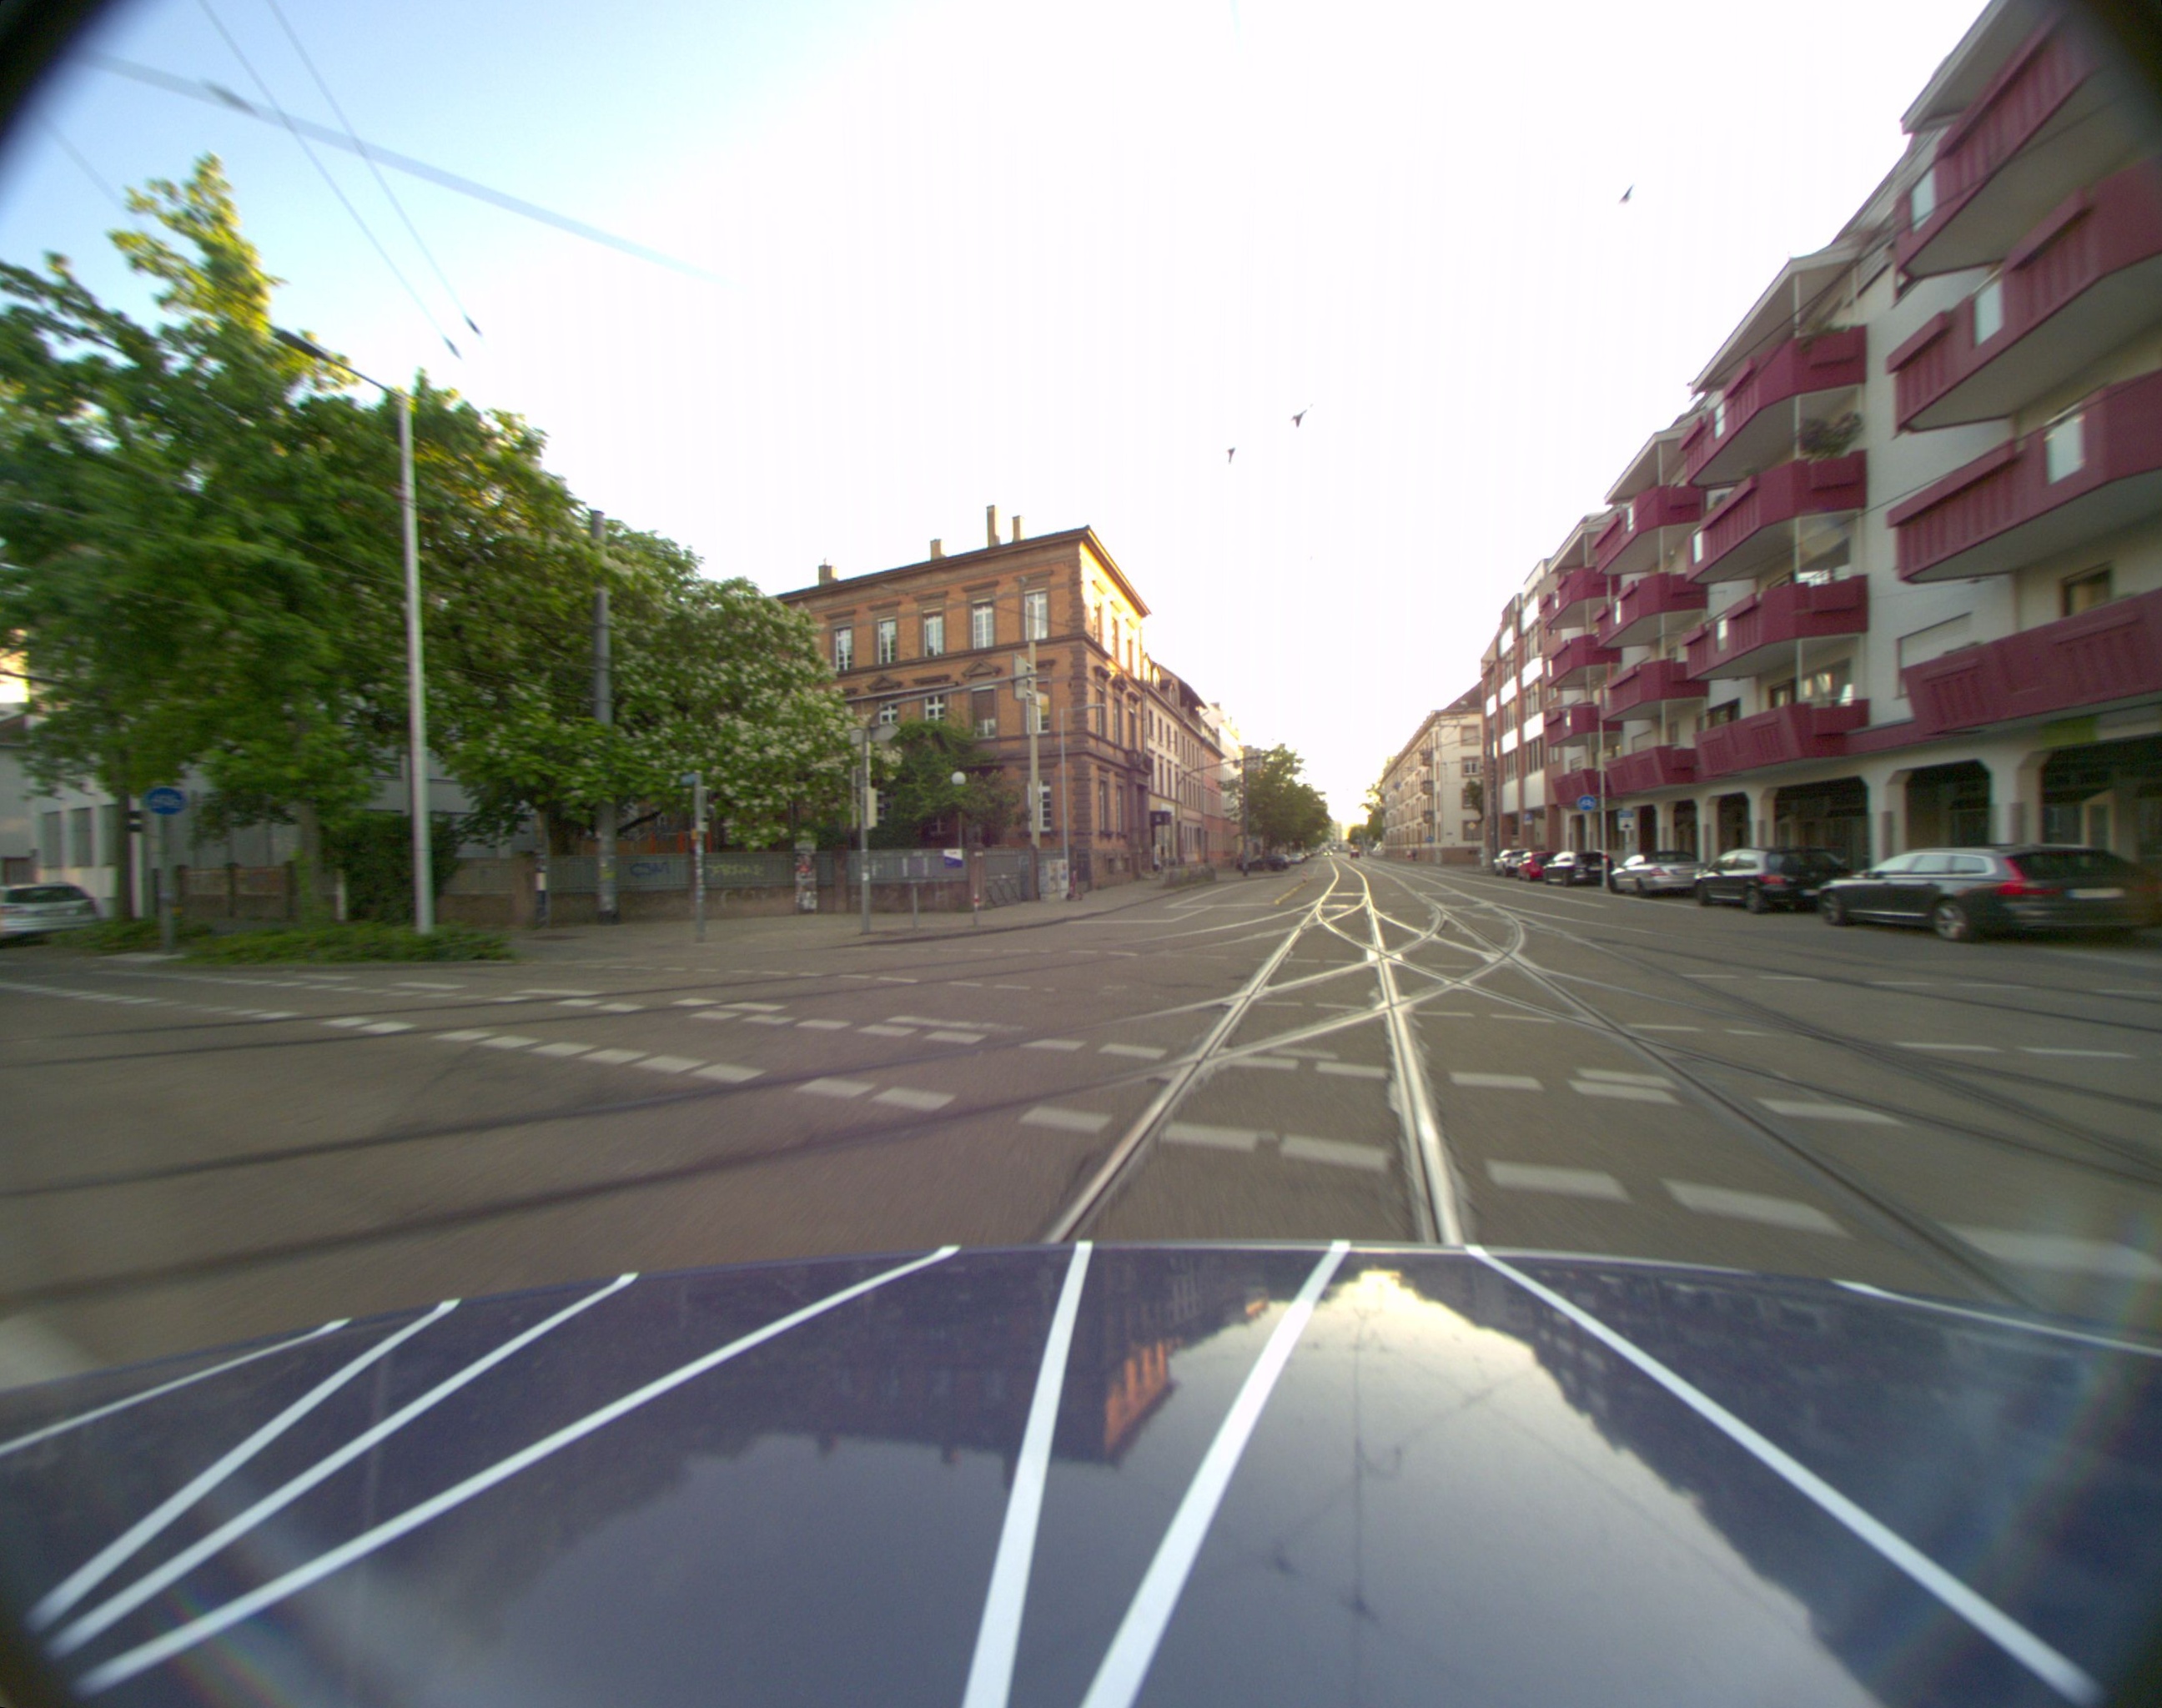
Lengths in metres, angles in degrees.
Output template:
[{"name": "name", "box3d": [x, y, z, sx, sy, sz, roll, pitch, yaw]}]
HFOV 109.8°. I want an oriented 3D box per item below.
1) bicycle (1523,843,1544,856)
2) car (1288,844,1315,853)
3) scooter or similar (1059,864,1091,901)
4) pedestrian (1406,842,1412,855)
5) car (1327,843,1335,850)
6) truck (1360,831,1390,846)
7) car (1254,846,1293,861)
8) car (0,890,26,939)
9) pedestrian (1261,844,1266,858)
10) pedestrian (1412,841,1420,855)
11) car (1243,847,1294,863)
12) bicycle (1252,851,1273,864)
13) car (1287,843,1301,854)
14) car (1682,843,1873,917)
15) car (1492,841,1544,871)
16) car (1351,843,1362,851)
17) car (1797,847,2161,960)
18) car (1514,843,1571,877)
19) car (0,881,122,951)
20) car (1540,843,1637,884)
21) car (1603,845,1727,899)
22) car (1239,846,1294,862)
[{"name": "bicycle", "box3d": [43.639, -0.412, 73.271, 1.683, 1.206, 0.604, -1, 1, 1]}, {"name": "car", "box3d": [40.761, -1.016, 140.625, 4.388, 1.455, 1.720, -1, 0, 0]}, {"name": "scooter or similar", "box3d": [-0.193, 0.991, 26.935, 0.642, 1.259, 1.585, 0, 1, 19]}, {"name": "pedestrian", "box3d": [41.314, -0.697, 95.657, 0.591, 1.600, 0.812, -2, 1, 16]}, {"name": "car", "box3d": [71.087, -2.146, 216.203, 1.996, 1.674, 4.005, -2, -1, 18]}, {"name": "truck", "box3d": [77.083, -4.055, 199.438, 7.068, 3.408, 2.569, -2, 0, 15]}, {"name": "car", "box3d": [20.387, -0.039, 80.472, 3.566, 1.507, 1.742, -1, 1, -7]}, {"name": "car", "box3d": [-33.321, 1.841, 22.342, 3.990, 1.357, 1.918, -2, 2, 25]}, {"name": "pedestrian", "box3d": [24.548, -0.380, 102.199, 0.681, 1.805, 0.601, -2, 1, 18]}, {"name": "pedestrian", "box3d": [42.003, -0.787, 95.264, 0.796, 1.691, 0.982, -2, 1, 16]}, {"name": "car", "box3d": [18.629, 0.070, 75.670, 4.457, 1.507, 2.062, -1, 1, -5]}, {"name": "bicycle", "box3d": [16.077, 0.297, 67.283, 1.692, 1.095, 0.929, 0, 1, 17]}, {"name": "car", "box3d": [27.838, -0.707, 99.231, 1.621, 1.373, 3.780, 0, 1, 18]}, {"name": "car", "box3d": [16.440, 0.547, 18.247, 1.790, 1.499, 4.205, -3, 0, 19]}, {"name": "car", "box3d": [24.623, 0.070, 42.937, 1.719, 1.546, 4.209, -3, 0, 19]}, {"name": "car", "box3d": [52.625, -1.344, 145.141, 1.561, 1.549, 3.759, 0, 0, 16]}, {"name": "car", "box3d": [14.474, 0.655, 12.564, 1.854, 1.448, 5.092, -2, 0, 19]}, {"name": "car", "box3d": [22.585, 0.271, 37.283, 1.613, 1.470, 3.484, -4, 0, 19]}, {"name": "car", "box3d": [-27.281, 1.563, 19.796, 3.990, 1.543, 1.918, -2, 2, 25]}, {"name": "car", "box3d": [21.009, 0.333, 31.674, 1.996, 1.470, 4.487, -4, 0, 16]}, {"name": "car", "box3d": [18.078, 0.500, 23.775, 1.693, 1.405, 4.683, -4, 0, 20]}, {"name": "car", "box3d": [16.999, 0.030, 69.625, 4.619, 1.449, 1.709, 0, 1, -7]}]
